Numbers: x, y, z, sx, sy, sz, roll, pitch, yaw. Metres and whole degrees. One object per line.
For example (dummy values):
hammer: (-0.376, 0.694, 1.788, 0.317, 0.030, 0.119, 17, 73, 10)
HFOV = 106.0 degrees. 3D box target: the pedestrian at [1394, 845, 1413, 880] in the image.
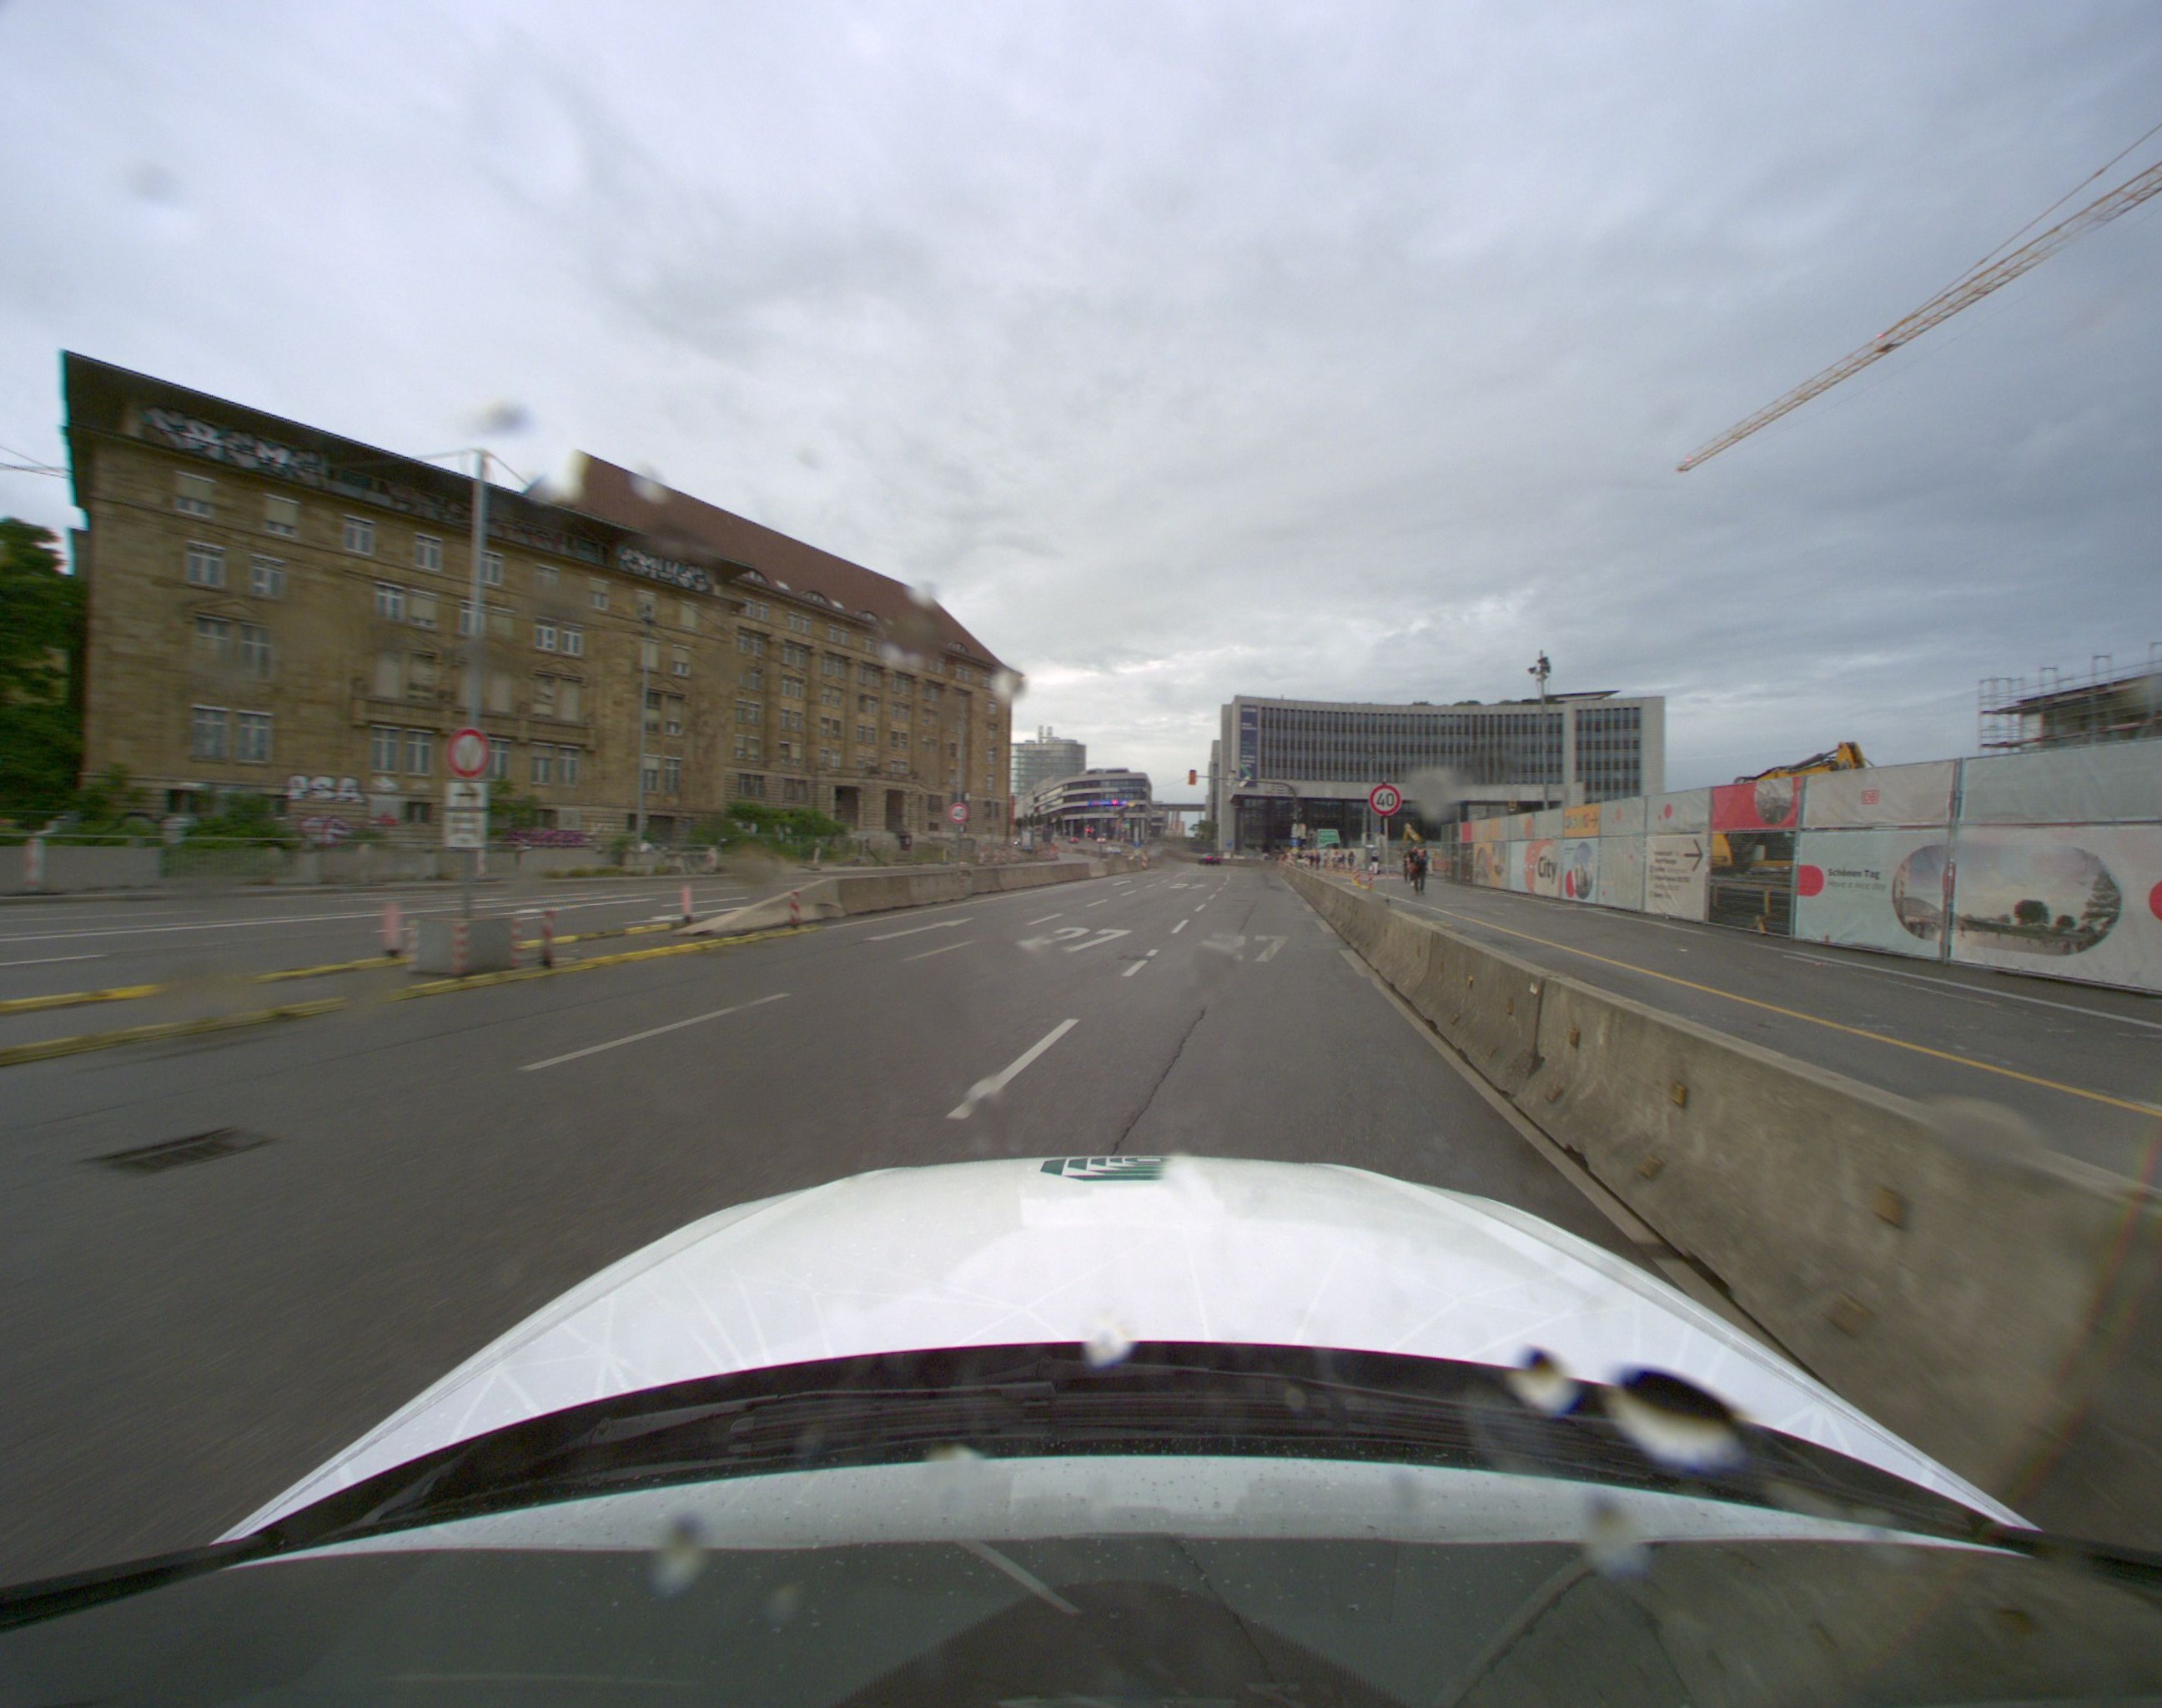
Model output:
pedestrian: (17.072, 0.452, 43.127, 0.791, 1.833, 0.628, 1, 0, 13)

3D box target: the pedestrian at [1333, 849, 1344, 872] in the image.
pedestrian: (21.942, 0.550, 69.398, 0.775, 1.861, 0.951, 1, 0, 7)

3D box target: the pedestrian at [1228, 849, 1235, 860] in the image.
pedestrian: (23.056, 0.065, 124.589, 0.756, 1.790, 1.053, 1, 0, -10)

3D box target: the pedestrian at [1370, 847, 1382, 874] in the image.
pedestrian: (20.694, 0.443, 57.118, 0.661, 1.861, 0.684, 1, 0, 7)

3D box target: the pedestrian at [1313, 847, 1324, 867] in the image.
pedestrian: (22.179, 0.239, 76.141, 0.865, 1.861, 0.951, 1, 0, 7)

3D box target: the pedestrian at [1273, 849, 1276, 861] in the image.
pedestrian: (28.619, 0.115, 120.496, 0.446, 1.704, 0.648, 1, 1, 6)

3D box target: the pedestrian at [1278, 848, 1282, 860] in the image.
pedestrian: (27.526, -0.037, 112.793, 0.444, 1.704, 0.650, 1, 1, 19)

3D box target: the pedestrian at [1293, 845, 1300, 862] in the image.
pedestrian: (26.680, -0.065, 100.842, 0.778, 2.013, 0.867, 1, 1, 17)

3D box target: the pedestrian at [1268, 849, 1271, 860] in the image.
pedestrian: (27.931, 0.078, 120.615, 0.451, 1.704, 0.648, 1, 1, 6)

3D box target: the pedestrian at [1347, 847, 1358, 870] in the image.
pedestrian: (21.814, 0.342, 65.408, 0.686, 1.861, 0.813, 1, 0, 7)

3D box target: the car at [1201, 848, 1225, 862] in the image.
car: (15.340, 0.172, 95.053, 1.674, 1.508, 3.732, 1, -2, -9)

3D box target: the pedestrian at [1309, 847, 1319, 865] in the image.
pedestrian: (24.312, 0.171, 84.968, 0.775, 1.861, 0.813, 1, 0, 7)

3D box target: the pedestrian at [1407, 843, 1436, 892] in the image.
pedestrian: (13.040, 0.523, 31.185, 0.919, 1.833, 0.689, 1, 0, 13)

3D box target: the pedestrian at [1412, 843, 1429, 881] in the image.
pedestrian: (17.989, 0.411, 43.149, 0.674, 2.013, 0.689, 1, 1, 12)

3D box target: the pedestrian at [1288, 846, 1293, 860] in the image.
pedestrian: (28.059, -0.152, 109.173, 0.526, 1.818, 0.538, 1, 1, 10)

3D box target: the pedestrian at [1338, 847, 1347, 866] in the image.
pedestrian: (24.962, 0.238, 77.777, 0.728, 1.854, 0.833, 1, 0, 9)

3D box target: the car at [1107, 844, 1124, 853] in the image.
car: (5.555, -0.889, 132.129, 1.744, 1.506, 3.736, 1, 0, -14)

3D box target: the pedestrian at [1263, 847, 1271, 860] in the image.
pedestrian: (22.231, -0.066, 97.375, 0.748, 1.642, 0.823, 1, 1, -1)

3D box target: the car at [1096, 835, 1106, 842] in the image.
car: (4.824, -3.765, 196.549, 1.989, 1.804, 4.261, 1, 1, -3)

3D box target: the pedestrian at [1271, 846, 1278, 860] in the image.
pedestrian: (23.159, -0.116, 97.423, 0.656, 1.642, 0.823, 1, 1, -1)

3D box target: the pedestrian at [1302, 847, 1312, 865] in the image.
pedestrian: (23.302, 0.206, 84.000, 0.814, 1.827, 1.114, 0, 0, 8)

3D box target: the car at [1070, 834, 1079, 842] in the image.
car: (-1.492, -3.706, 193.332, 1.989, 1.804, 4.261, 1, 1, -3)

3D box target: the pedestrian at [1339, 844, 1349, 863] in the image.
pedestrian: (25.906, -0.042, 80.240, 0.775, 1.862, 0.813, 0, 0, 7)

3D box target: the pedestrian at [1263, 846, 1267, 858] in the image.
pedestrian: (27.244, -0.337, 120.718, 0.446, 1.704, 0.648, 1, 1, 6)

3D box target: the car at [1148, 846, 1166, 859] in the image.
car: (11.208, -0.178, 120.616, 1.738, 1.875, 3.767, 1, 1, -8)

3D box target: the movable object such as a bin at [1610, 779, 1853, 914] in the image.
movable object such as a bin: (18.458, -0.204, 23.556, 3.904, 3.492, 4.368, 0, 0, 10)

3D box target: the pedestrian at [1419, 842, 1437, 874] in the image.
pedestrian: (20.077, 0.233, 47.133, 0.782, 1.861, 0.684, 1, 0, 7)

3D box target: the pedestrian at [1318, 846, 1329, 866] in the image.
pedestrian: (23.152, 0.210, 77.785, 0.775, 1.861, 1.060, 1, 0, 7)

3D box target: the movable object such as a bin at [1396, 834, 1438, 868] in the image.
movable object such as a bin: (40.544, -0.393, 98.442, 3.089, 4.029, 3.682, 1, 0, -12)

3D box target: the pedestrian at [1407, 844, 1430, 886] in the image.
pedestrian: (15.458, 0.481, 37.318, 0.791, 1.877, 0.823, 1, 0, 13)
